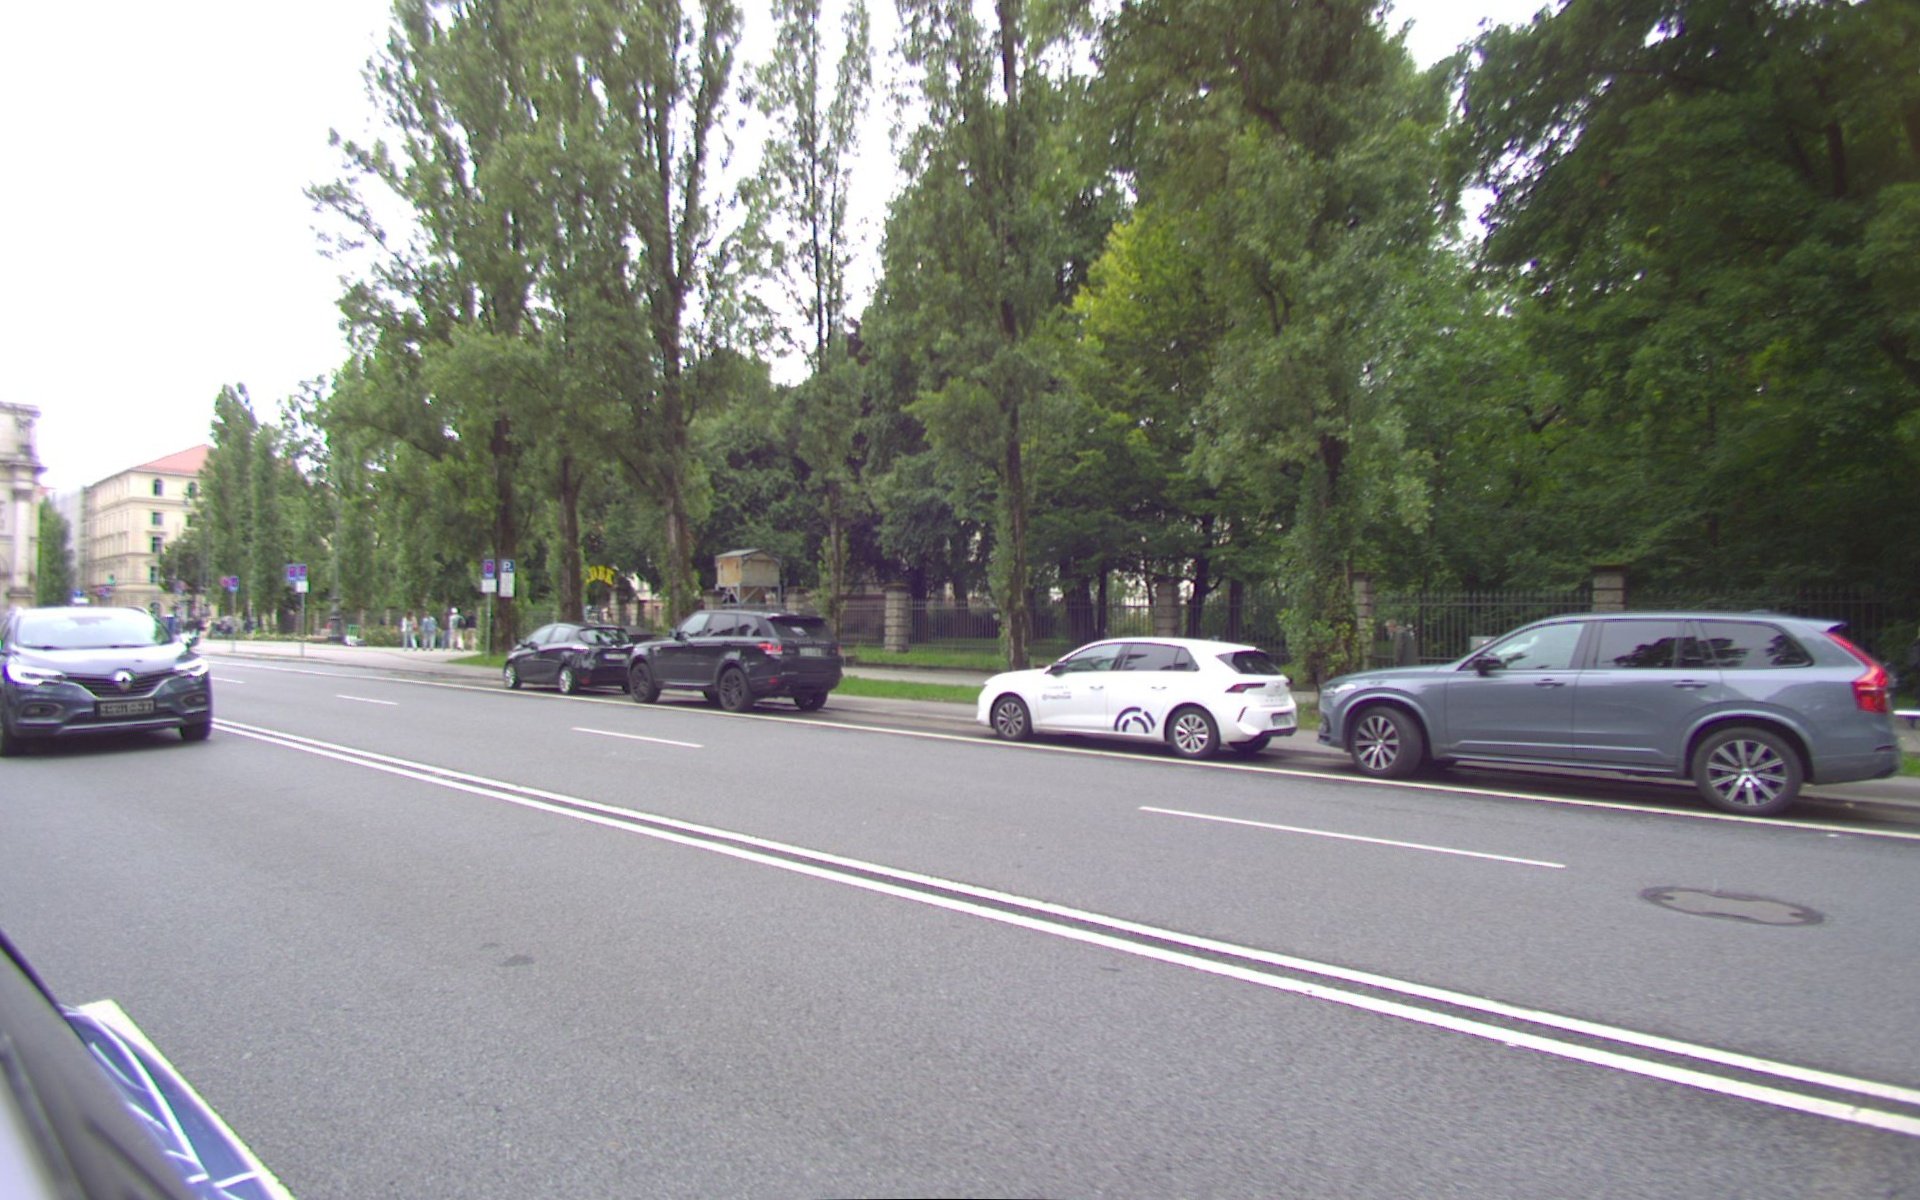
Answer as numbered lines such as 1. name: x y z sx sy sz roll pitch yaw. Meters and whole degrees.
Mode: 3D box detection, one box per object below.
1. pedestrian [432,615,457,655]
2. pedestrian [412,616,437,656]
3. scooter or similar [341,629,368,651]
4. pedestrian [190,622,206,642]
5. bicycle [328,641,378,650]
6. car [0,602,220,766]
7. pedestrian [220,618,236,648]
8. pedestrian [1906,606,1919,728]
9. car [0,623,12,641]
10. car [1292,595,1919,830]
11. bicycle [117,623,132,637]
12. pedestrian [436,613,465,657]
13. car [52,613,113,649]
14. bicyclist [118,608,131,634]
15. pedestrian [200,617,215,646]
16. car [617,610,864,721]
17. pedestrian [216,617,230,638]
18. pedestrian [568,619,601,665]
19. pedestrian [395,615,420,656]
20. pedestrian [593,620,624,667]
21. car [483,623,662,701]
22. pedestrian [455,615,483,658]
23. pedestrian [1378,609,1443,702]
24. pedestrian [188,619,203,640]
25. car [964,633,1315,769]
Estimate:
1. pedestrian: -22.878 1.560 44.916 0.910 1.729 0.653 -2 -2 40
2. pedestrian: -23.338 1.559 44.103 0.885 1.713 0.681 -2 -2 40
3. scooter or similar: -33.155 2.187 55.388 1.413 1.187 0.738 -1 -4 36
4. pedestrian: -66.502 2.763 88.291 0.944 1.731 1.033 0 -1 -28
5. bicycle: -35.674 2.682 59.535 1.331 0.456 2.204 -1 -2 18
6. car: -10.345 0.861 11.881 4.183 1.598 1.816 -1 -2 41
7. pedestrian: -42.817 1.928 59.193 0.581 1.744 0.527 -1 -2 29
8. pedestrian: 14.286 0.966 14.541 0.956 1.755 0.659 -1 -2 41
9. car: -100.096 3.286 103.703 3.944 1.763 1.999 0 -2 1
10. car: 6.180 0.960 10.029 5.176 1.803 1.890 -1 -5 40
11. bicycle: -58.797 2.107 71.239 1.912 0.959 0.465 -1 -1 40
12. pedestrian: -21.551 1.482 42.797 1.092 1.847 0.702 -1 -2 40
13. car: -48.965 1.685 56.431 4.466 1.346 1.774 9 4 38
14. bicyclist: -58.823 1.488 71.259 0.660 1.837 0.583 -1 -1 38
15. pedestrian: -46.362 1.953 62.381 0.581 1.744 0.527 -1 -2 29
16. car: -4.182 1.164 18.816 4.798 1.800 2.024 -1 -4 42
17. pedestrian: -67.129 2.466 92.237 0.976 1.885 1.032 0 -1 -39
18. pedestrian: -13.042 1.458 35.173 0.874 1.560 0.711 -1 -2 39
19. pedestrian: -23.781 1.516 43.562 0.907 1.760 0.623 -2 -2 40
20. pedestrian: -12.462 1.524 35.835 0.812 1.617 0.711 -1 -2 39
21. car: -8.862 1.370 23.007 4.386 1.596 1.924 -1 -4 41
22. pedestrian: -21.040 1.553 43.381 1.092 1.786 0.702 -1 -2 40
23. pedestrian: 8.796 1.067 19.780 0.956 1.755 0.822 -1 -2 41
24. pedestrian: -63.452 2.435 84.003 0.945 1.731 1.032 0 -1 -37
25. car: 2.232 1.215 13.268 4.269 1.470 1.687 -1 -4 40
